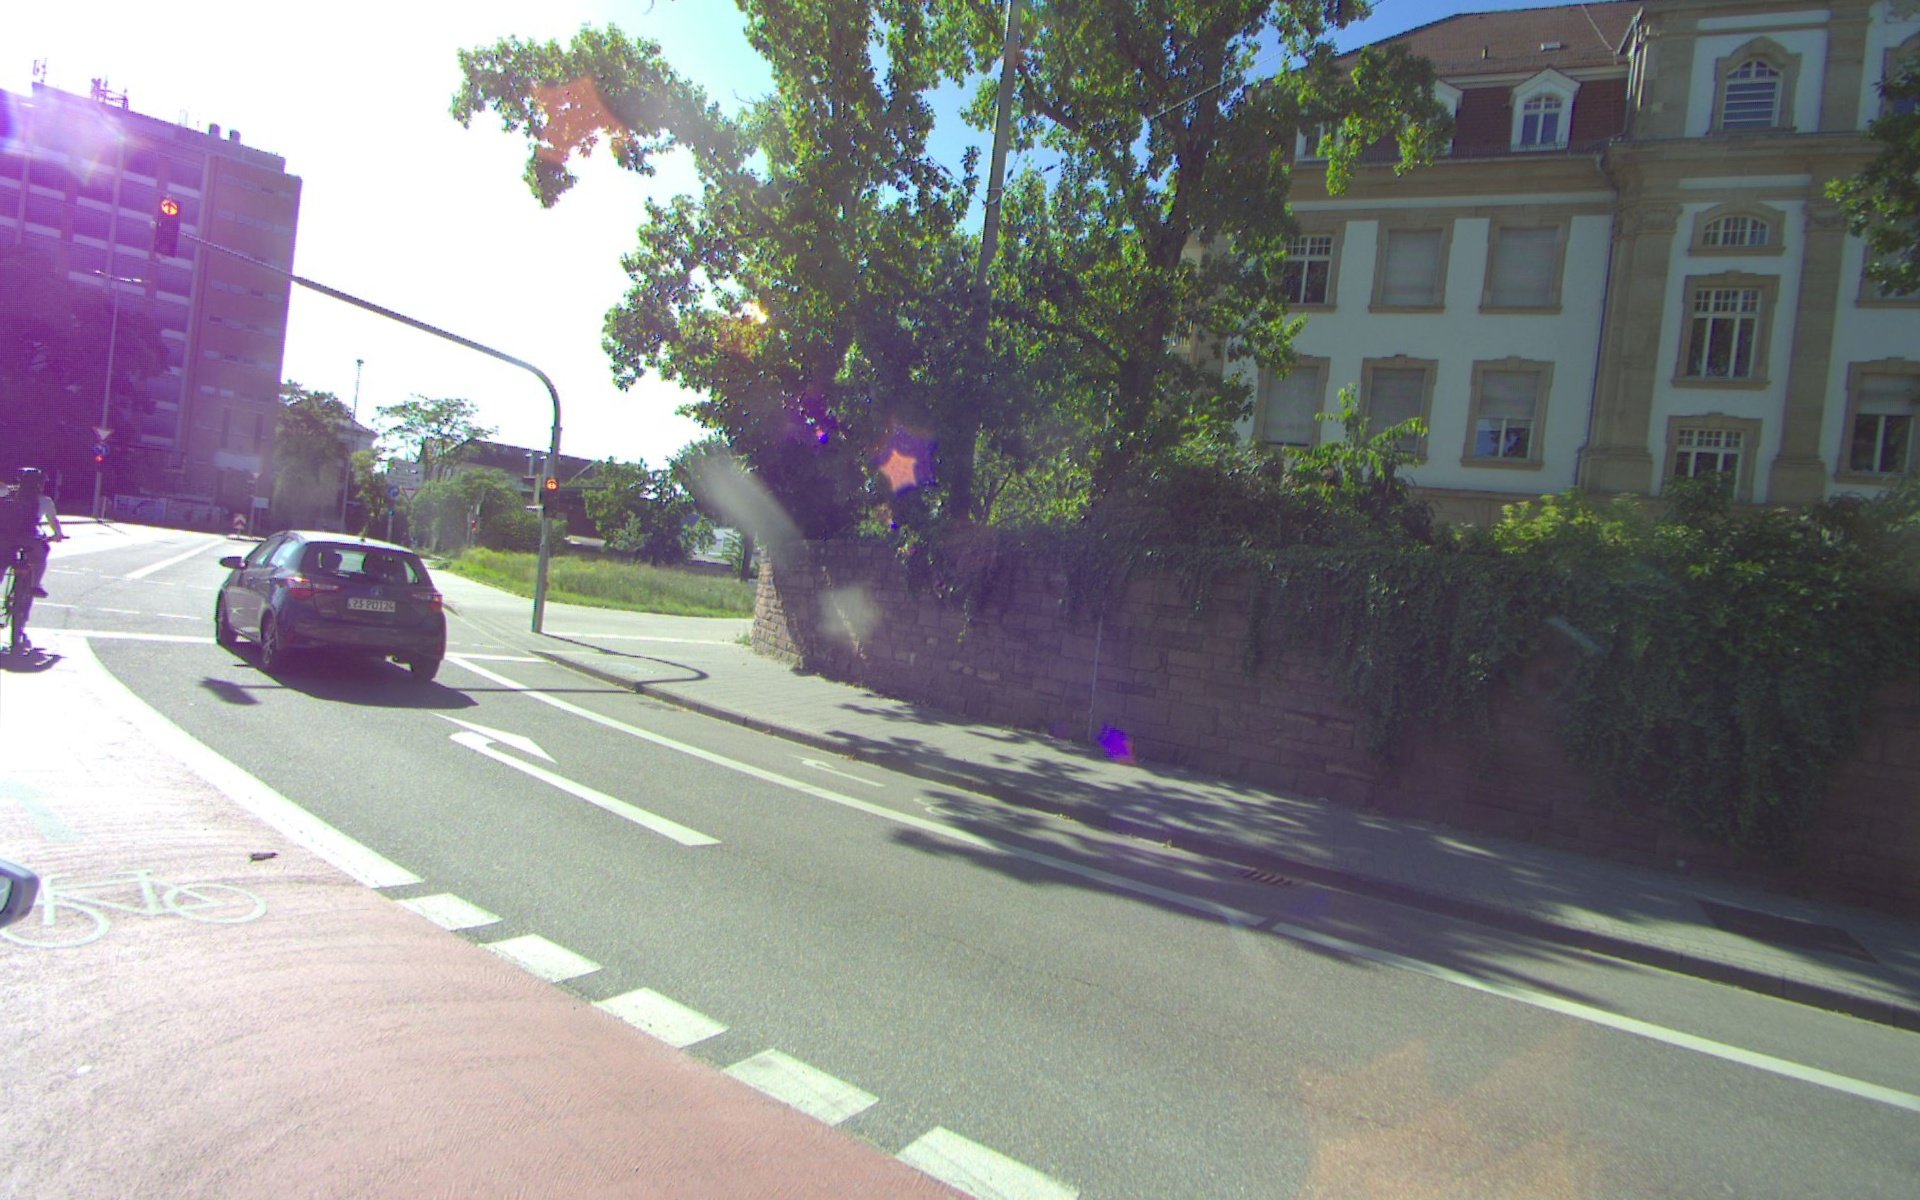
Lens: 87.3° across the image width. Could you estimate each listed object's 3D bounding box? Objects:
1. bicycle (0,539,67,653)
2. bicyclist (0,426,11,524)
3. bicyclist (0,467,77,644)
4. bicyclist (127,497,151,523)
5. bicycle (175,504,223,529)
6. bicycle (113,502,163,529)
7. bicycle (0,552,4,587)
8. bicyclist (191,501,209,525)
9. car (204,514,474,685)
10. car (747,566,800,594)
[{"bbox_3d":[-9.592,-0.084,10.184,0.720,0.971,1.861,8,-1,-42],"label":"bicycle"},{"bbox_3d":[-7.380,-0.410,7.175,0.991,1.769,0.663,7,0,41],"label":"bicyclist"},{"bbox_3d":[-9.423,-0.465,10.066,0.719,1.645,1.042,8,0,-42],"label":"bicyclist"},{"bbox_3d":[-63.091,-6.917,77.326,1.149,1.818,0.877,7,-1,-31],"label":"bicyclist"},{"bbox_3d":[-60.000,-6.569,79.380,2.782,1.559,0.877,8,-2,-31],"label":"bicycle"},{"bbox_3d":[-63.148,-6.473,77.323,2.782,1.559,0.877,8,-2,-31],"label":"bicycle"},{"bbox_3d":[-7.529,0.099,7.265,1.864,1.060,0.662,7,0,41],"label":"bicycle"},{"bbox_3d":[-59.958,-6.831,79.372,0.852,1.712,0.877,7,-1,-31],"label":"bicyclist"},{"bbox_3d":[-7.394,-0.055,11.846,3.610,1.560,1.752,6,-1,44],"label":"car"},{"bbox_3d":[-17.095,-1.821,92.351,4.306,2.037,1.990,7,-2,-24],"label":"car"}]
